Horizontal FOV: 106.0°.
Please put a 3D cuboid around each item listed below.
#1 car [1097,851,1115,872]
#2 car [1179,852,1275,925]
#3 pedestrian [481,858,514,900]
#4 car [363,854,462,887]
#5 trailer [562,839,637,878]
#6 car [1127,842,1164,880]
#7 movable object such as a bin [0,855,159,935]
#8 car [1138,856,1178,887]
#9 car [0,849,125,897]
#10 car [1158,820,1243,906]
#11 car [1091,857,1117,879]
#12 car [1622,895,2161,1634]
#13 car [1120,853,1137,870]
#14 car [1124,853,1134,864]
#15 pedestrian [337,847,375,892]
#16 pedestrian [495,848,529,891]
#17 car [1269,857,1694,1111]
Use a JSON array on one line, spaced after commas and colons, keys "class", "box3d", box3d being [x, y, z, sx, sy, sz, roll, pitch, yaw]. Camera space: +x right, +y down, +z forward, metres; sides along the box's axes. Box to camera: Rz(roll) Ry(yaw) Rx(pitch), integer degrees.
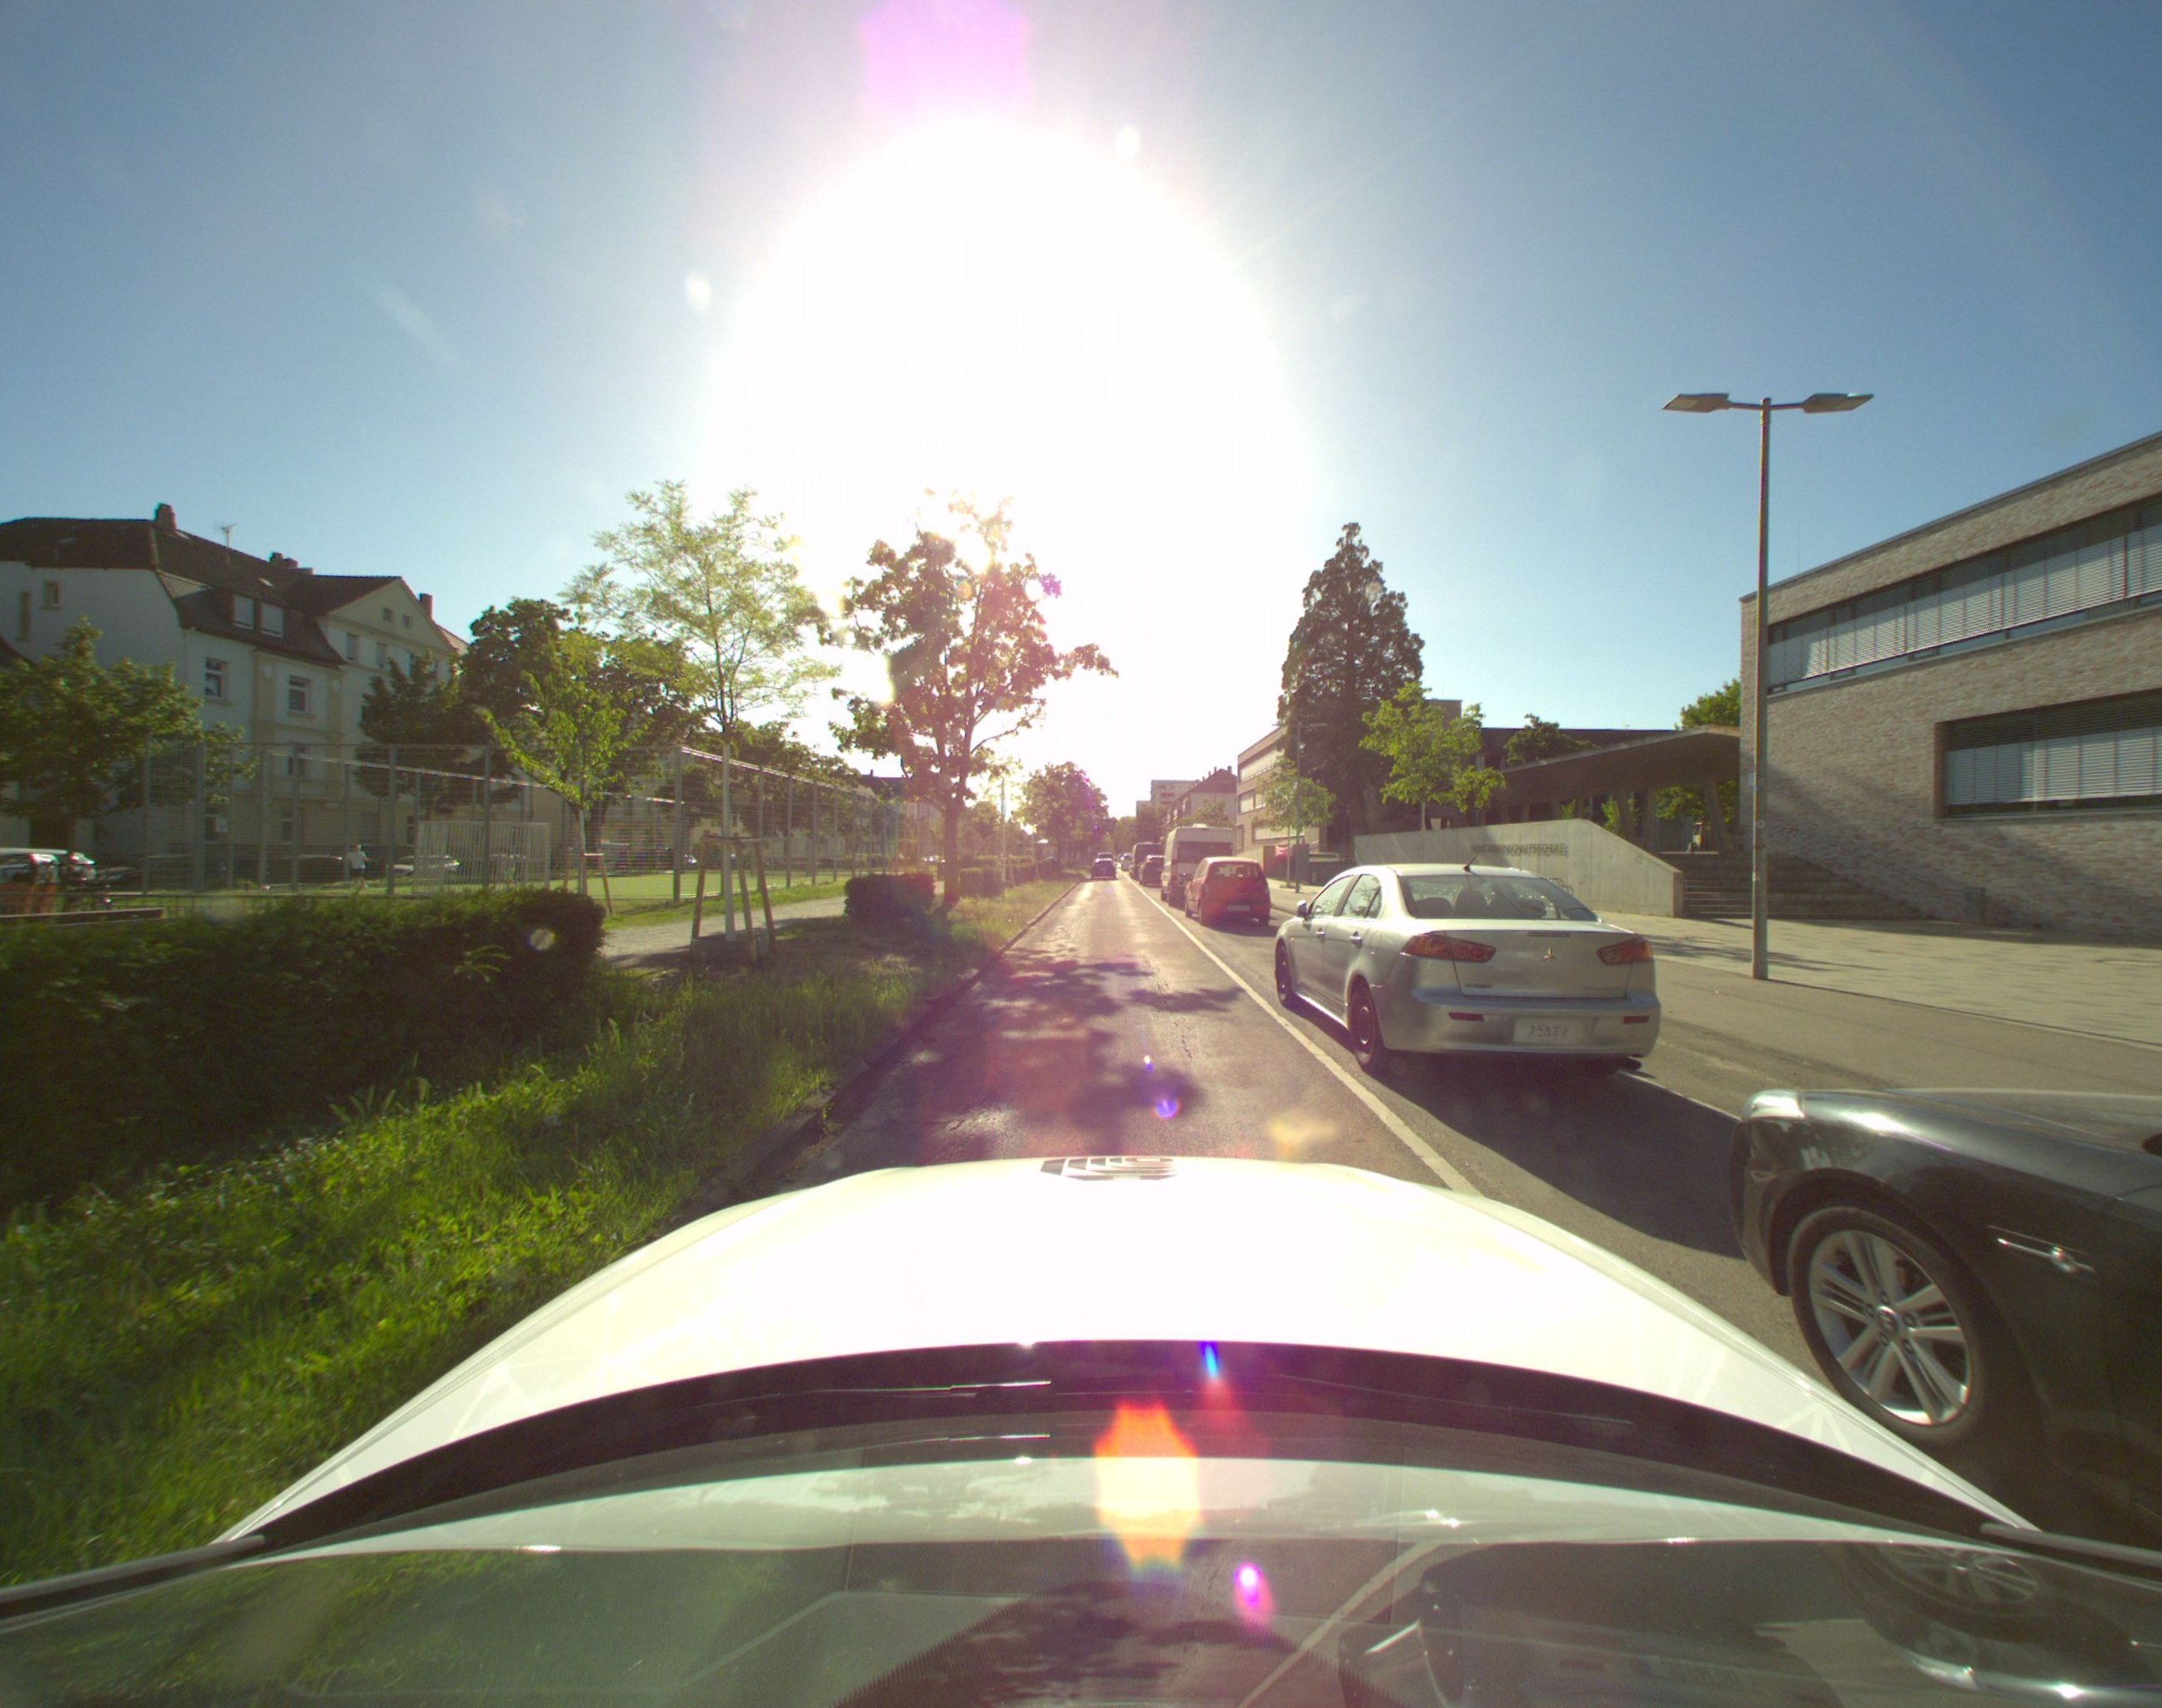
[{"class": "car", "box3d": [2.576, 0.748, 83.599, 1.787, 2.122, 4.002, 0, 0, 2]}, {"class": "car", "box3d": [3.408, 0.761, 19.587, 1.614, 1.588, 3.591, 1, 0, -1]}, {"class": "pedestrian", "box3d": [-18.865, 0.797, 26.324, 0.642, 1.318, 0.654, 0, -1, 31]}, {"class": "car", "box3d": [-37.956, 0.886, 46.412, 1.787, 1.777, 4.490, 1, 0, 2]}, {"class": "trailer", "box3d": [-37.782, 0.357, 64.105, 2.335, 2.870, 5.803, 1, 0, 1]}, {"class": "car", "box3d": [4.462, 0.463, 57.270, 2.108, 2.516, 6.531, 0, 0, 0]}, {"class": "movable object such as a bin", "box3d": [-16.866, 0.648, 13.300, 2.325, 1.242, 1.055, 0, 0, -3]}, {"class": "car", "box3d": [4.168, 0.921, 44.841, 1.839, 1.640, 4.504, 0, 0, 1]}, {"class": "car", "box3d": [-38.190, 0.661, 29.061, 1.874, 1.651, 5.184, 1, 0, 2]}, {"class": "car", "box3d": [3.867, 0.287, 27.312, 2.232, 2.574, 5.435, 1, 0, 2]}, {"class": "car", "box3d": [1.683, 0.982, 58.155, 1.787, 1.510, 4.002, 0, 0, 2]}, {"class": "car", "box3d": [2.890, 0.824, 1.074, 1.695, 1.325, 4.130, 1, 0, 1]}, {"class": "car", "box3d": [5.317, 0.836, 90.669, 1.786, 1.855, 4.417, 1, 0, 4]}, {"class": "car", "box3d": [11.176, 1.035, 189.147, 1.986, 2.430, 4.502, 2, 0, 2]}, {"class": "pedestrian", "box3d": [-21.452, 0.448, 24.095, 0.642, 1.318, 0.654, 0, -1, 31]}, {"class": "pedestrian", "box3d": [-18.067, 0.486, 25.860, 0.642, 1.318, 0.654, 0, -1, 31]}, {"class": "car", "box3d": [2.874, 0.787, 6.954, 1.695, 1.478, 4.175, 1, 0, 2]}]
